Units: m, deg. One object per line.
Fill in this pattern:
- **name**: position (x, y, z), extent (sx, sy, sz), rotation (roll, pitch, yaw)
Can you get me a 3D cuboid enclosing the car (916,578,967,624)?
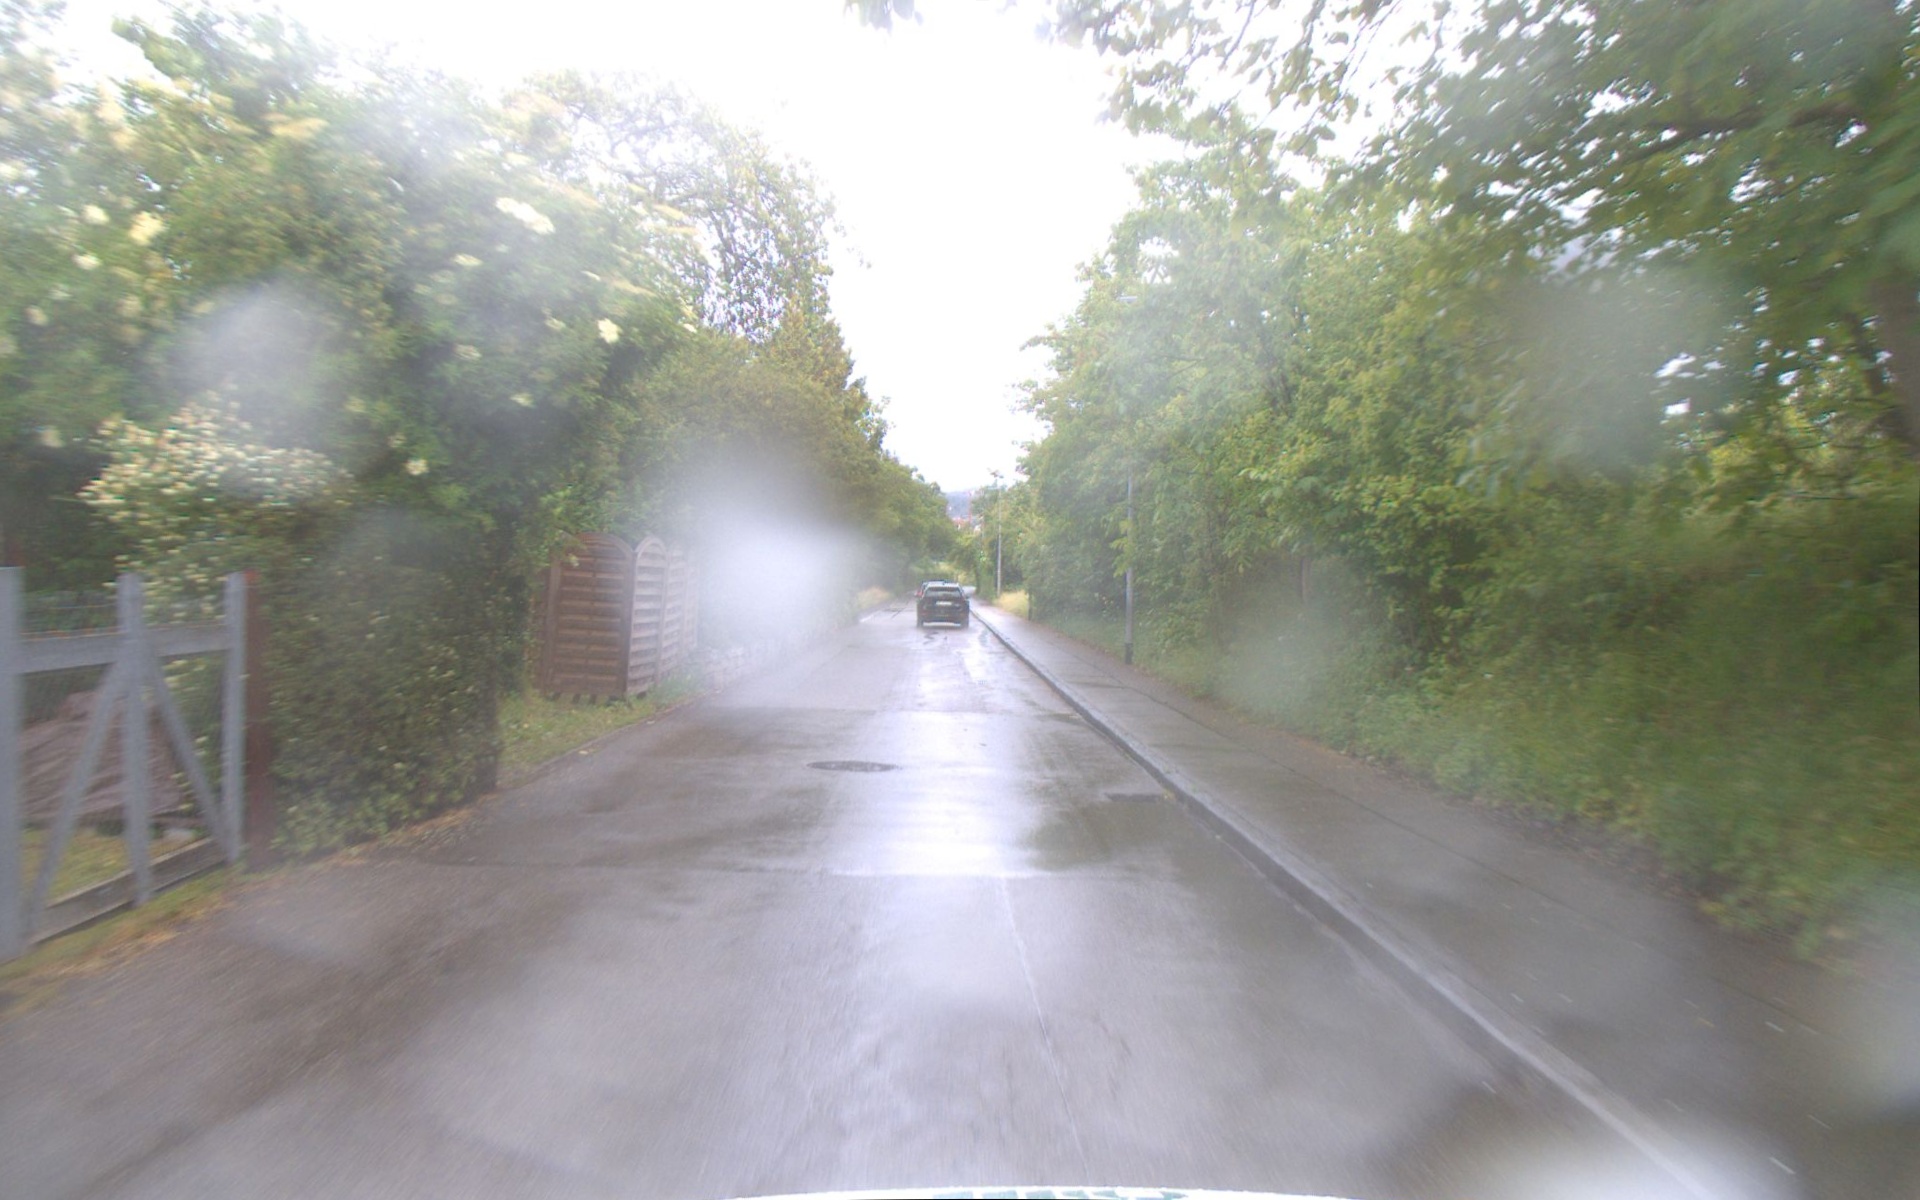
- **car**: position (-0.594, 0.048, 55.375), extent (1.601, 1.475, 3.544), rotation (0, 0, 0)
